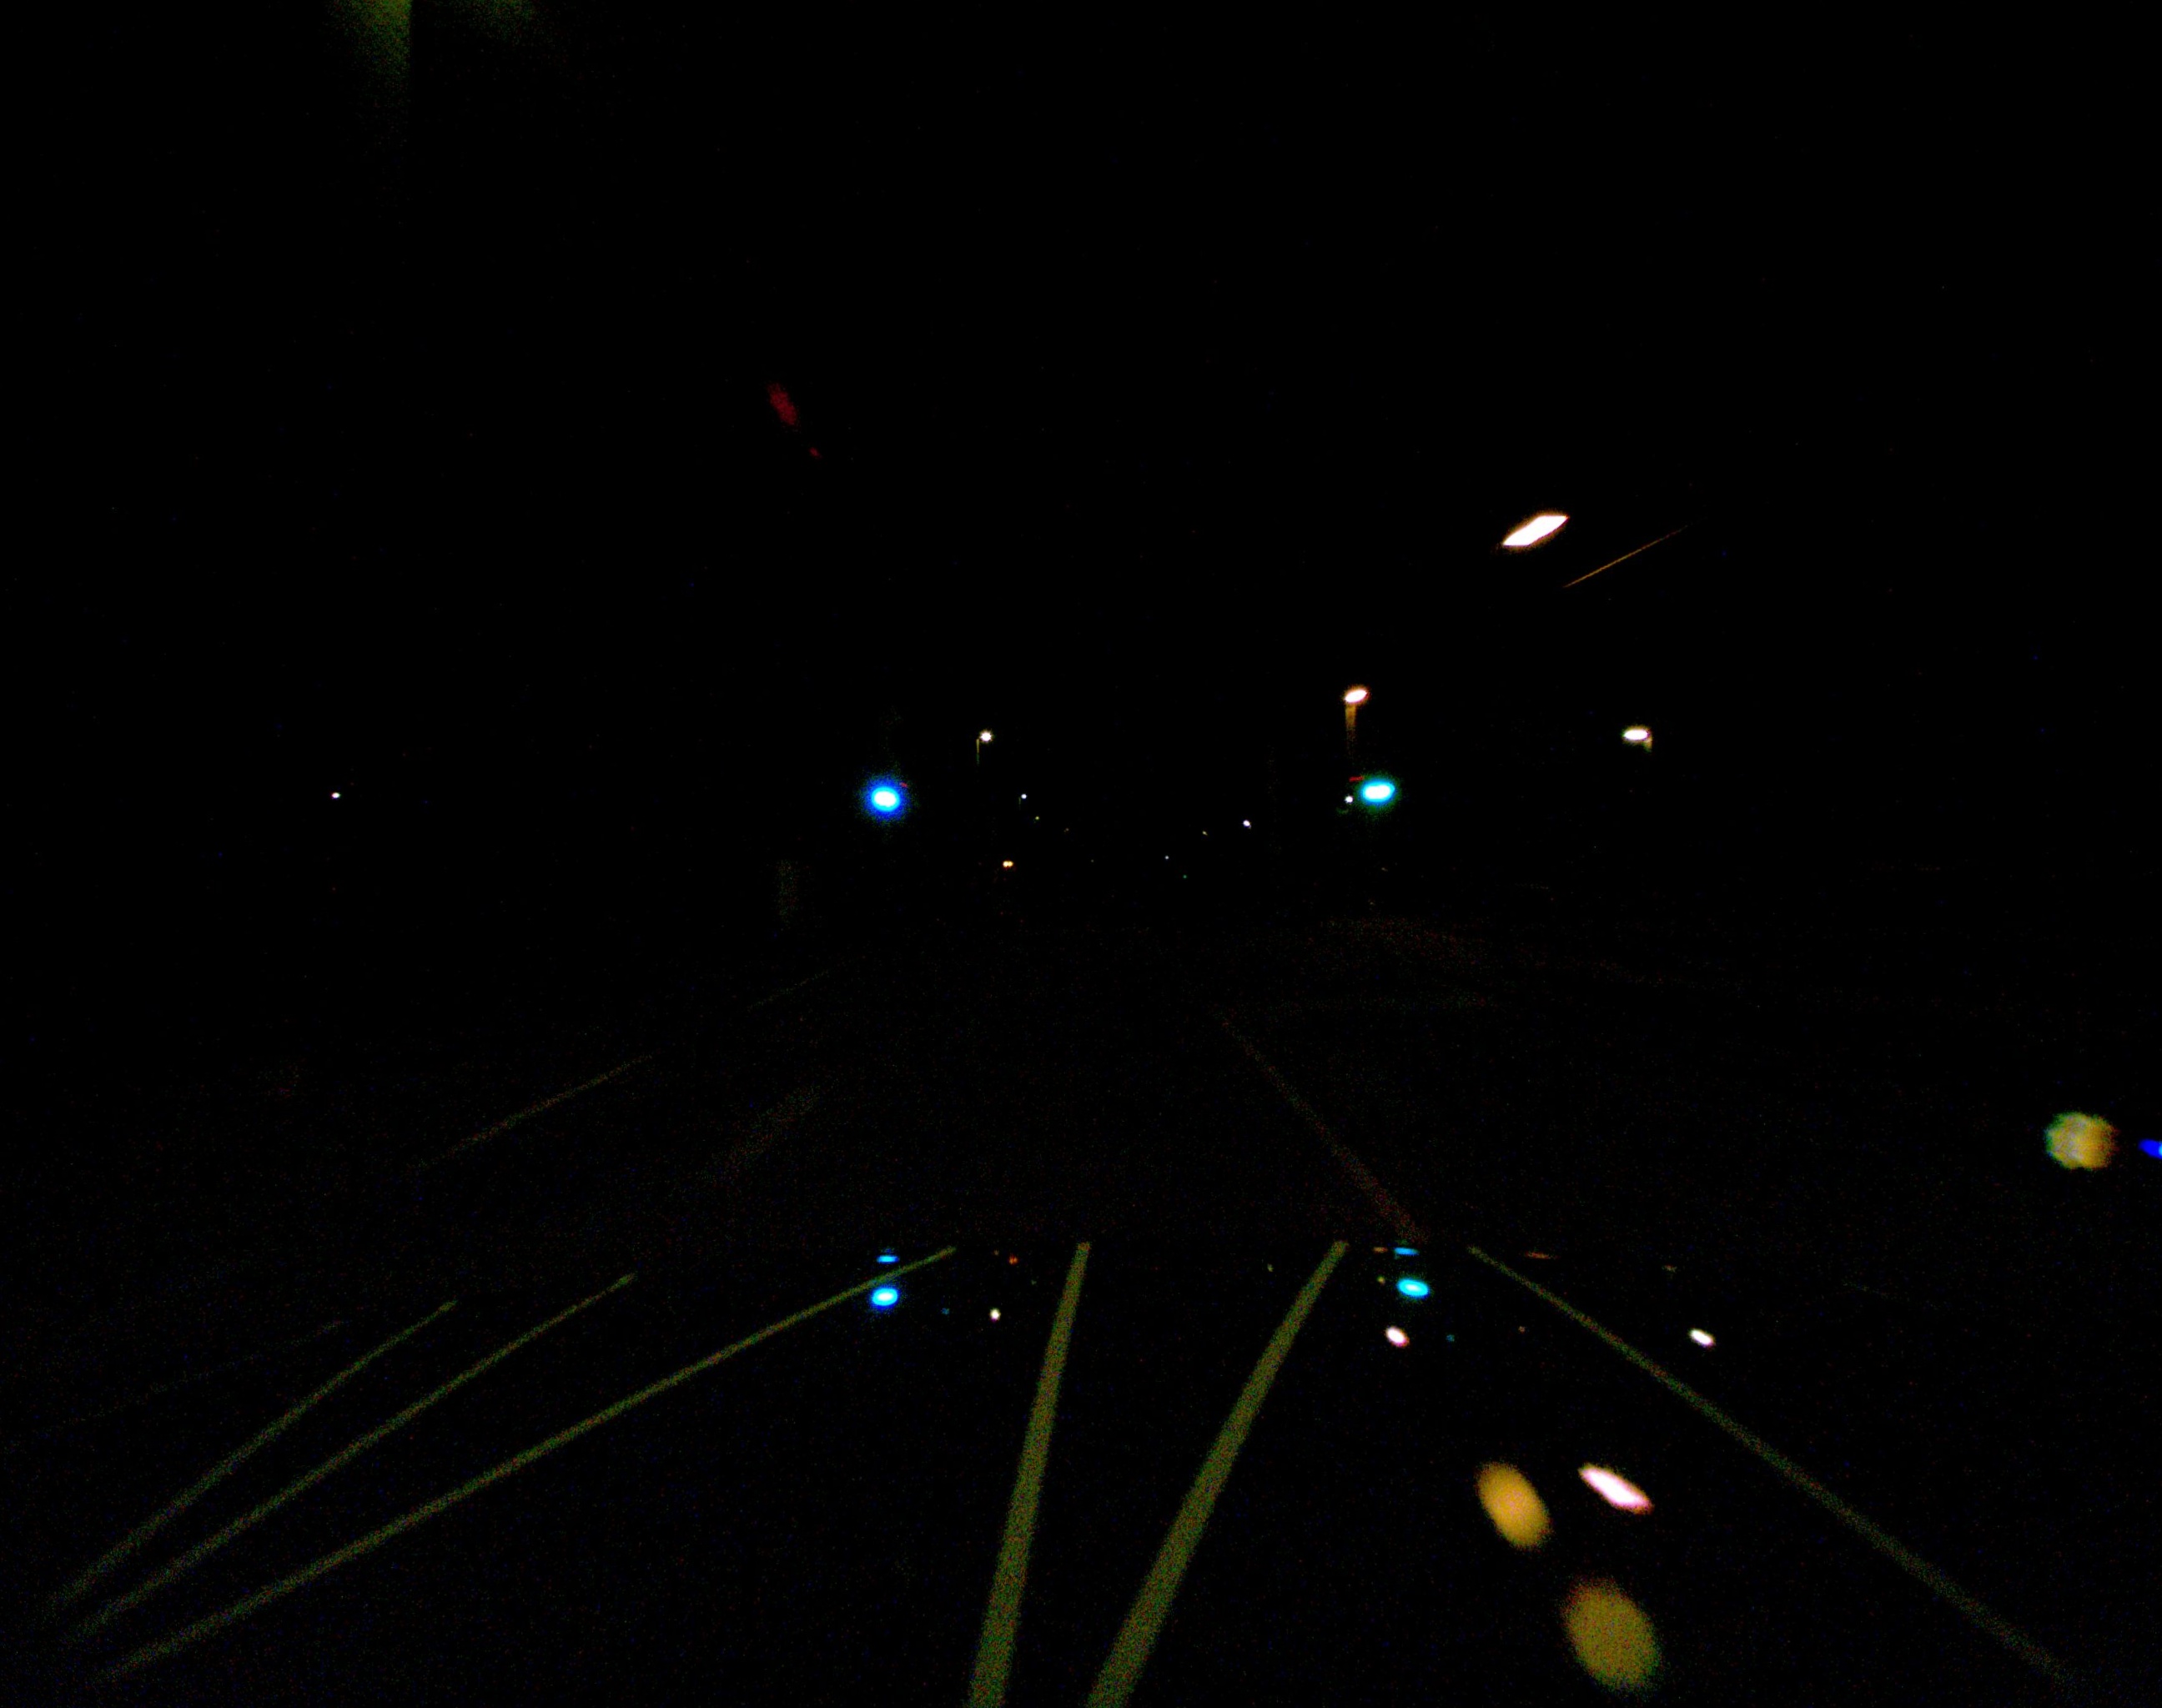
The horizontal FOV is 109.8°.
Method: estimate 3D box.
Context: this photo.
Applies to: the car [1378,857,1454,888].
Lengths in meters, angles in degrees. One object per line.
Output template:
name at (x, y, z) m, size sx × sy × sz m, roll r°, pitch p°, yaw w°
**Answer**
car at (16.695, 0.891, 38.074) m, size 1.871 × 1.496 × 4.094 m, roll 0°, pitch 0°, yaw -2°
